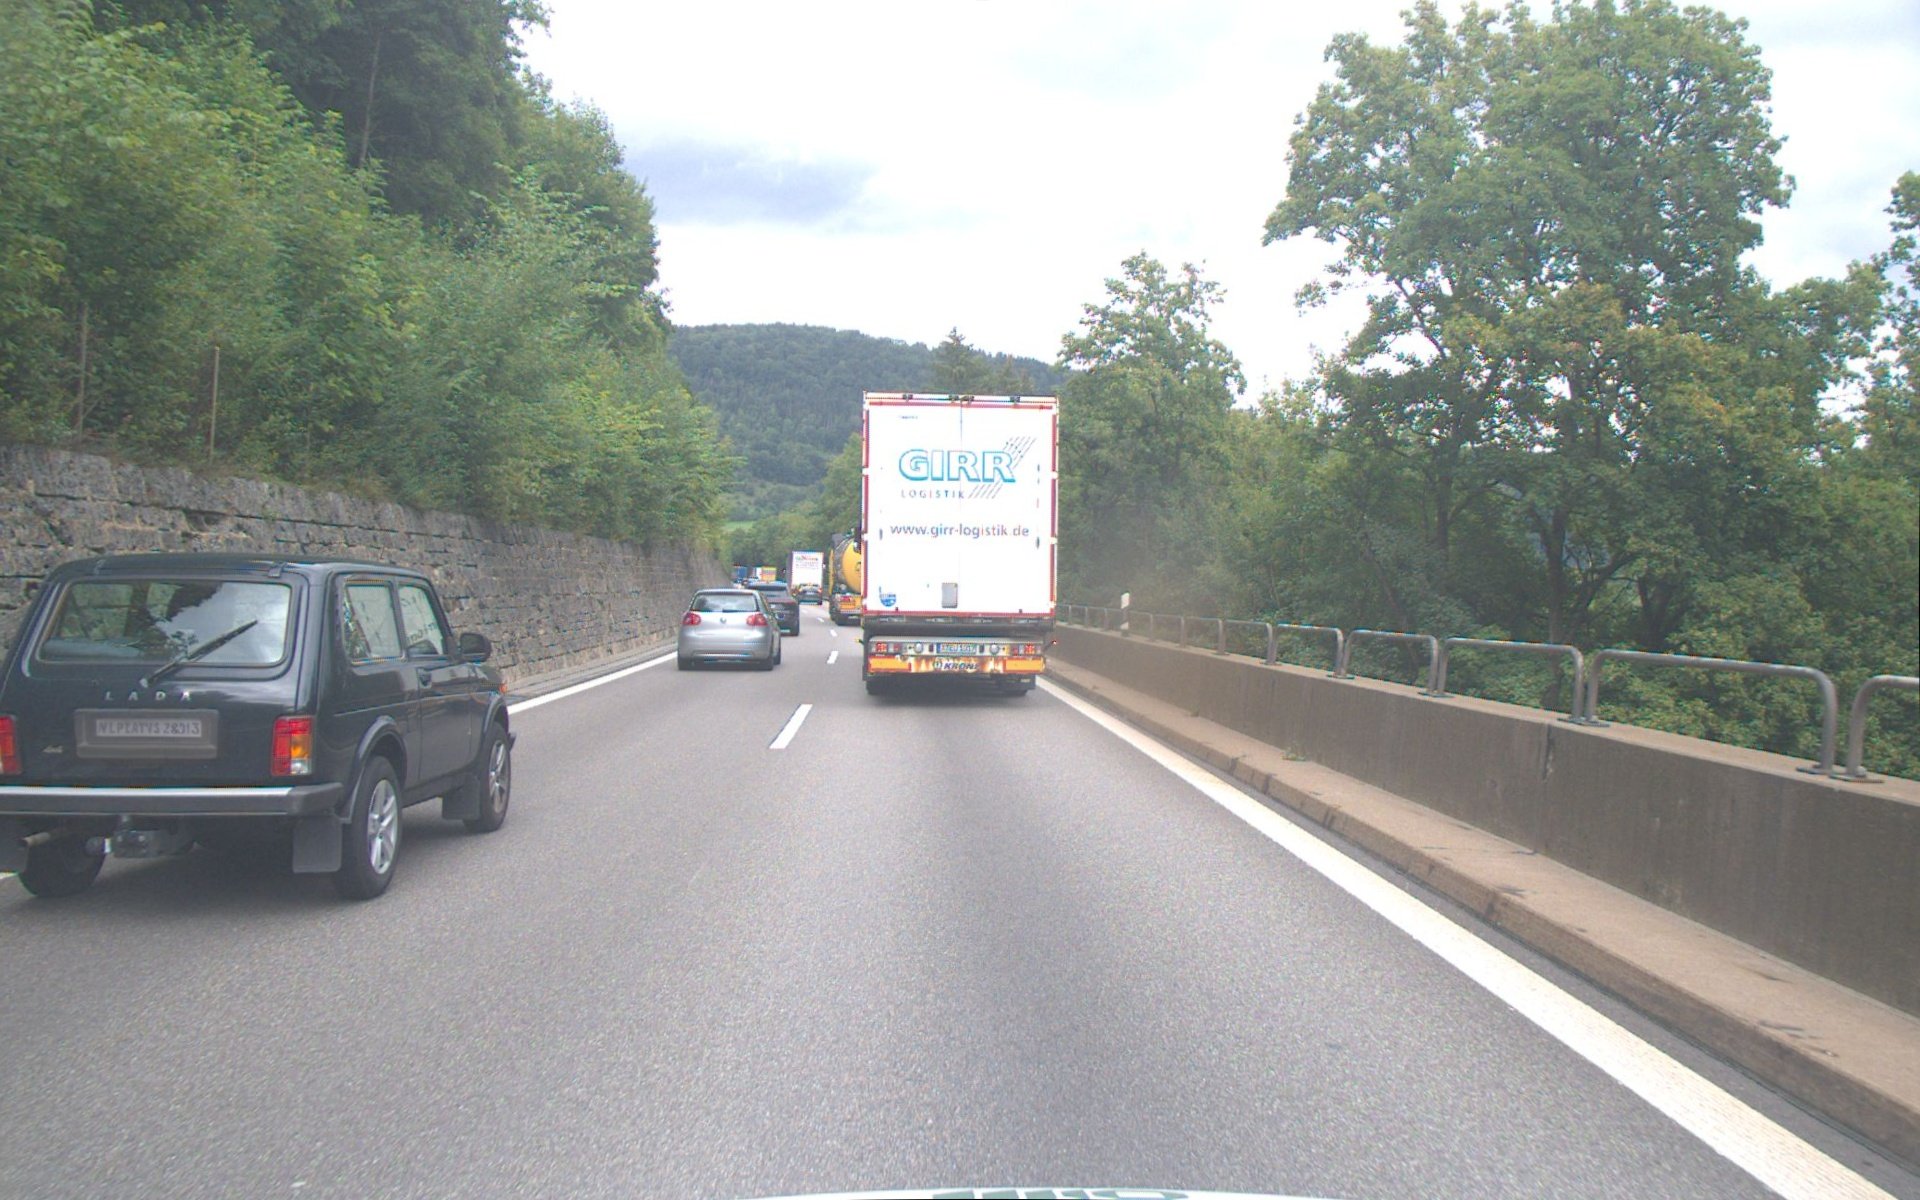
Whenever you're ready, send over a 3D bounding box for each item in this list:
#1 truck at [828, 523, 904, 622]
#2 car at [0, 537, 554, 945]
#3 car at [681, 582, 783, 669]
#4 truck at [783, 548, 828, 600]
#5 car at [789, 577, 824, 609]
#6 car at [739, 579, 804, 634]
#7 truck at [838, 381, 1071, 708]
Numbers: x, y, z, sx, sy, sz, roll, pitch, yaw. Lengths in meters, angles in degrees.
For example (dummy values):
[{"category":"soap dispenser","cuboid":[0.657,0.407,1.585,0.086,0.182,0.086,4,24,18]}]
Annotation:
[{"category":"truck","cuboid":[-3.844,-1.010,65.986,2.438,3.634,9.295,1,0,-7]},{"category":"car","cuboid":[-3.488,0.581,8.864,1.635,1.667,4.067,1,0,-1]},{"category":"car","cuboid":[-4.228,0.455,31.152,1.695,1.512,3.996,1,0,-5]},{"category":"truck","cuboid":[-12.801,-2.073,137.303,3.443,3.914,11.762,1,-1,-5]},{"category":"car","cuboid":[-10.386,-0.432,111.945,1.953,2.049,4.000,1,-1,0]},{"category":"car","cuboid":[-5.750,0.189,50.936,1.880,1.622,4.174,1,0,-5]},{"category":"truck","cuboid":[-0.194,-0.709,25.302,2.850,4.030,9.276,1,0,-2]}]
